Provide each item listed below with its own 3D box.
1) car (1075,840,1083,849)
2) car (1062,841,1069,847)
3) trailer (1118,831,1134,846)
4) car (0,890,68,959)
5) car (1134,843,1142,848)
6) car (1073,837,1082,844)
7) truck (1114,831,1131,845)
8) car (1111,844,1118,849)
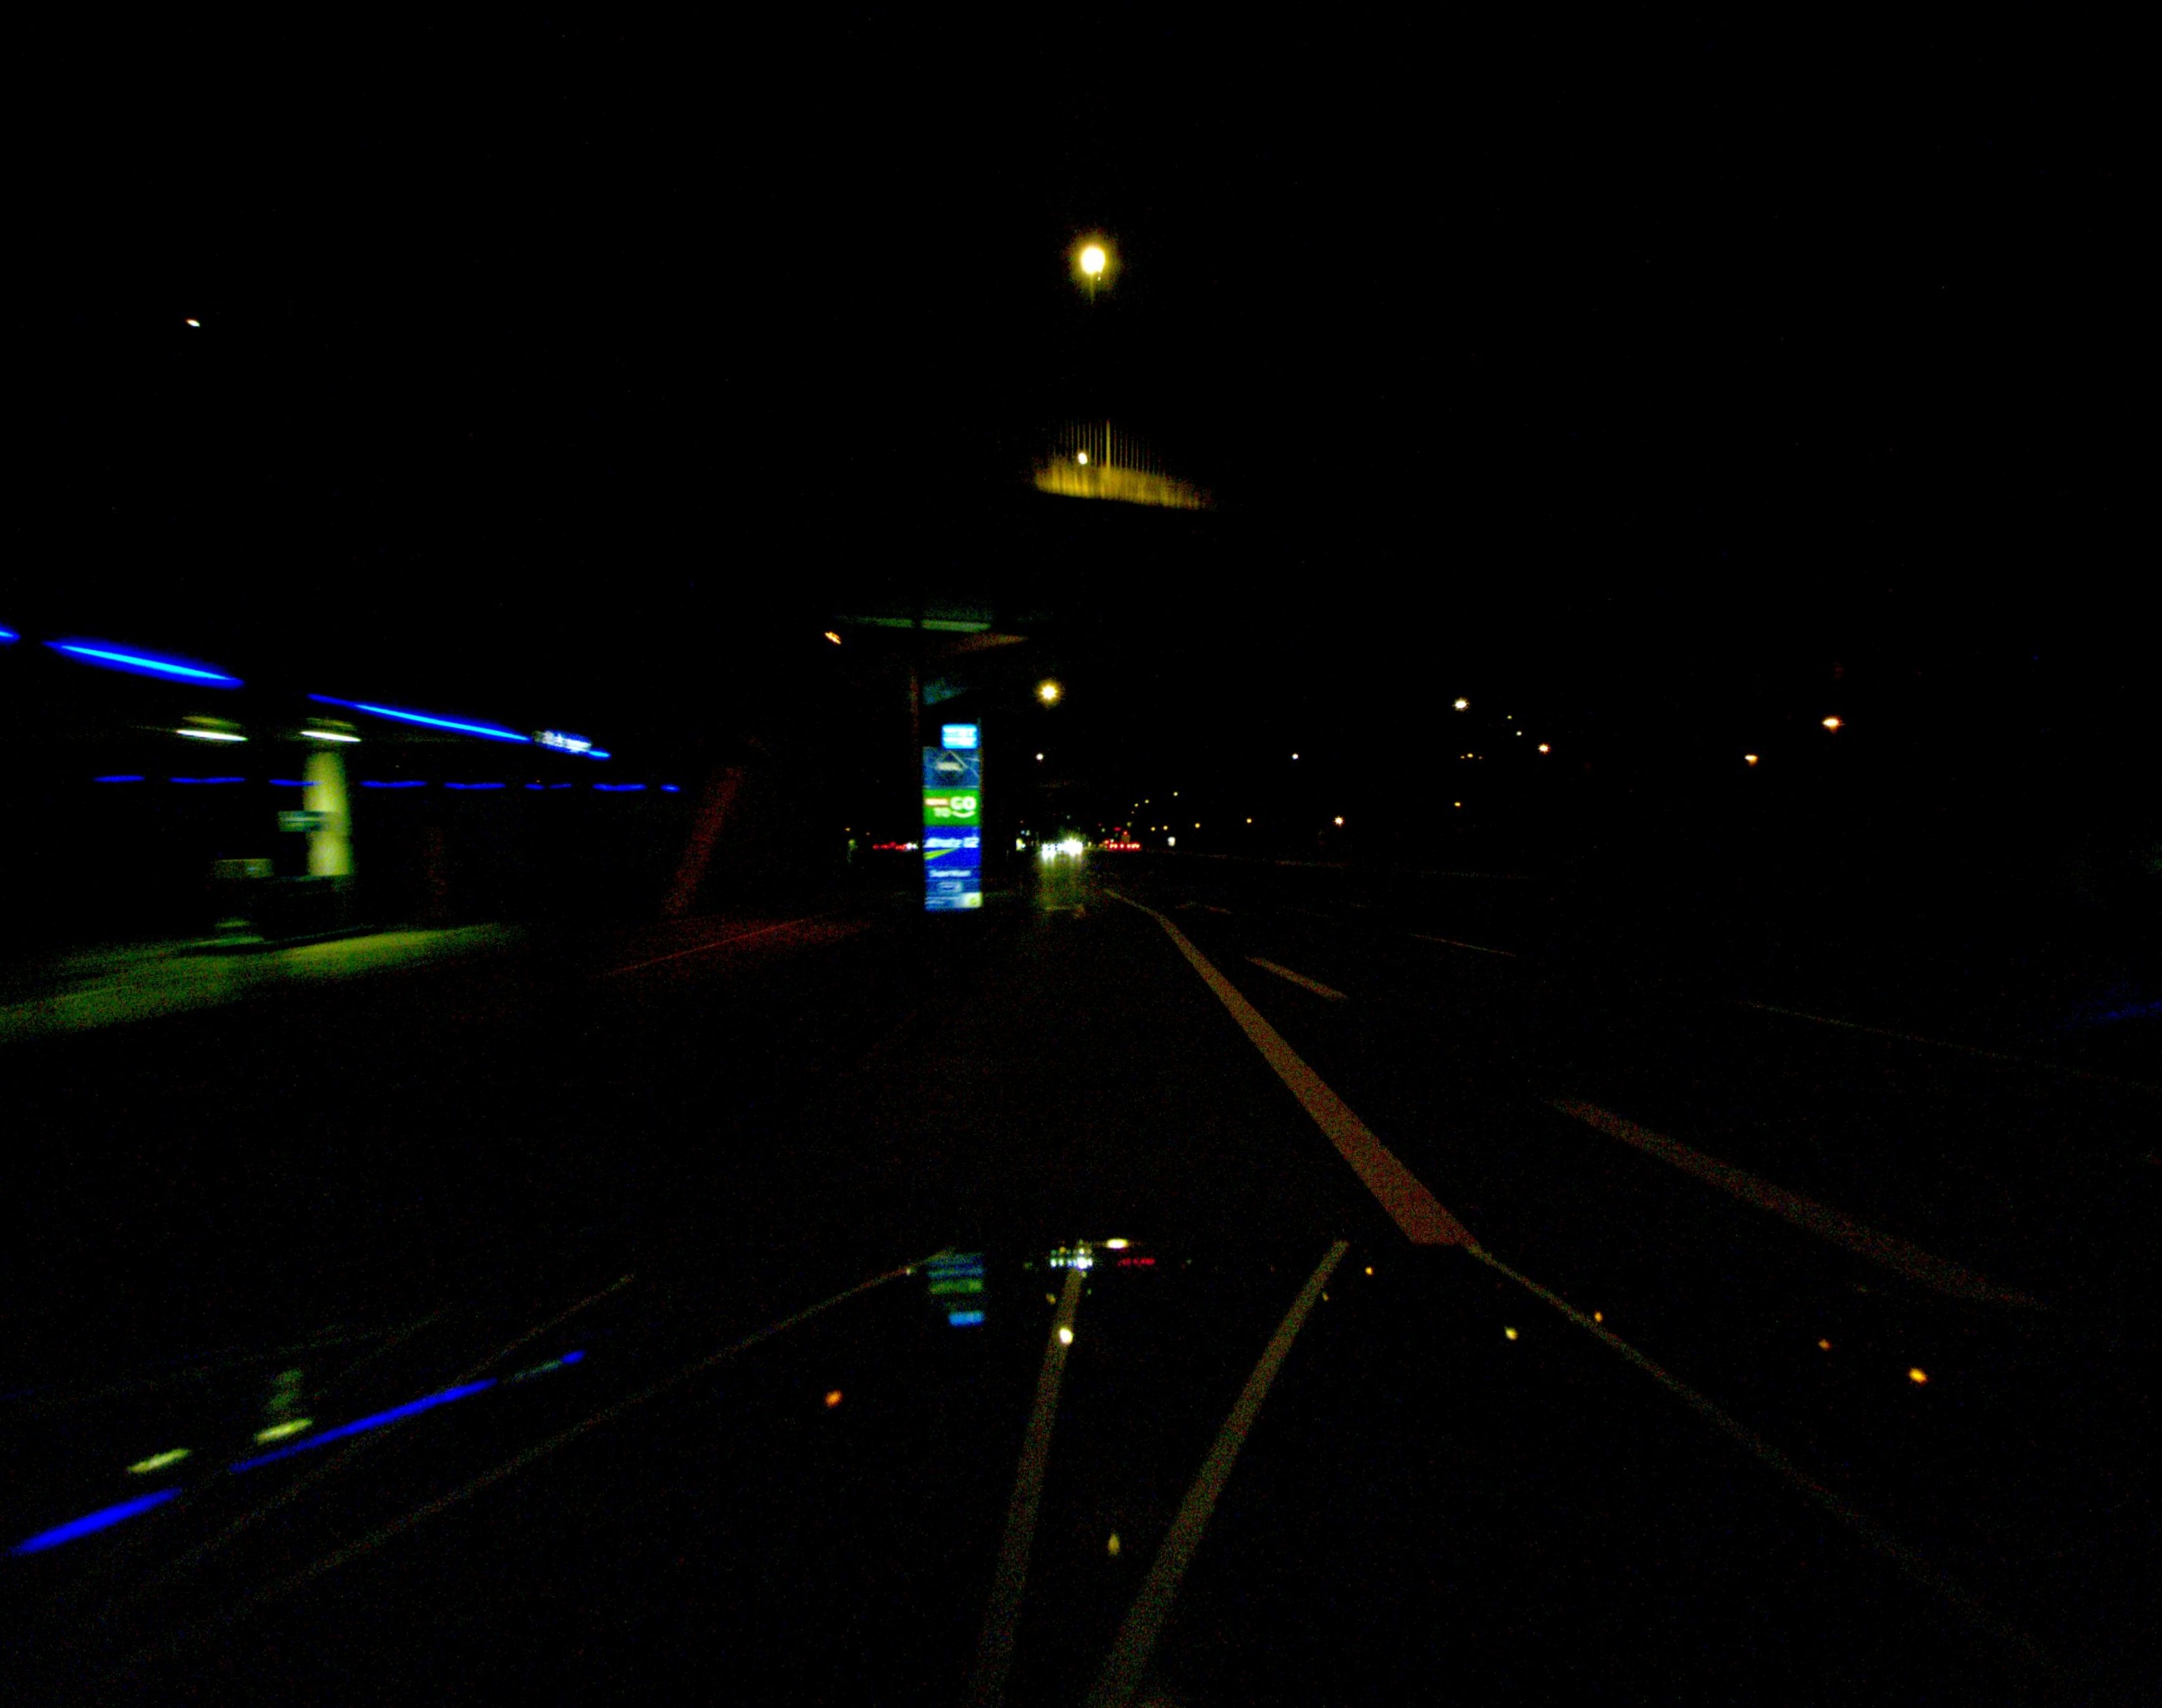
[{"bbox_3d":[-0.512,-2.348,182.917,1.794,2.002,3.999,-2,2,3],"label":"car"},{"bbox_3d":[-4.414,-2.895,215.690,1.992,1.473,4.201,1,1,-3],"label":"car"},{"bbox_3d":[12.901,-4.444,217.939,3.706,3.967,8.389,-2,2,-3],"label":"trailer"},{"bbox_3d":[-23.423,1.554,14.760,1.933,1.355,4.330,-1,2,-8],"label":"car"},{"bbox_3d":[17.047,-2.625,227.963,1.992,1.473,4.201,1,1,-3],"label":"car"},{"bbox_3d":[-0.819,-3.269,182.879,1.992,1.473,4.201,1,1,-3],"label":"car"},{"bbox_3d":[12.319,-4.767,227.367,3.691,3.933,10.414,-2,2,-3],"label":"truck"},{"bbox_3d":[10.655,-2.414,244.854,1.809,1.490,4.082,-1,2,-4],"label":"car"}]
